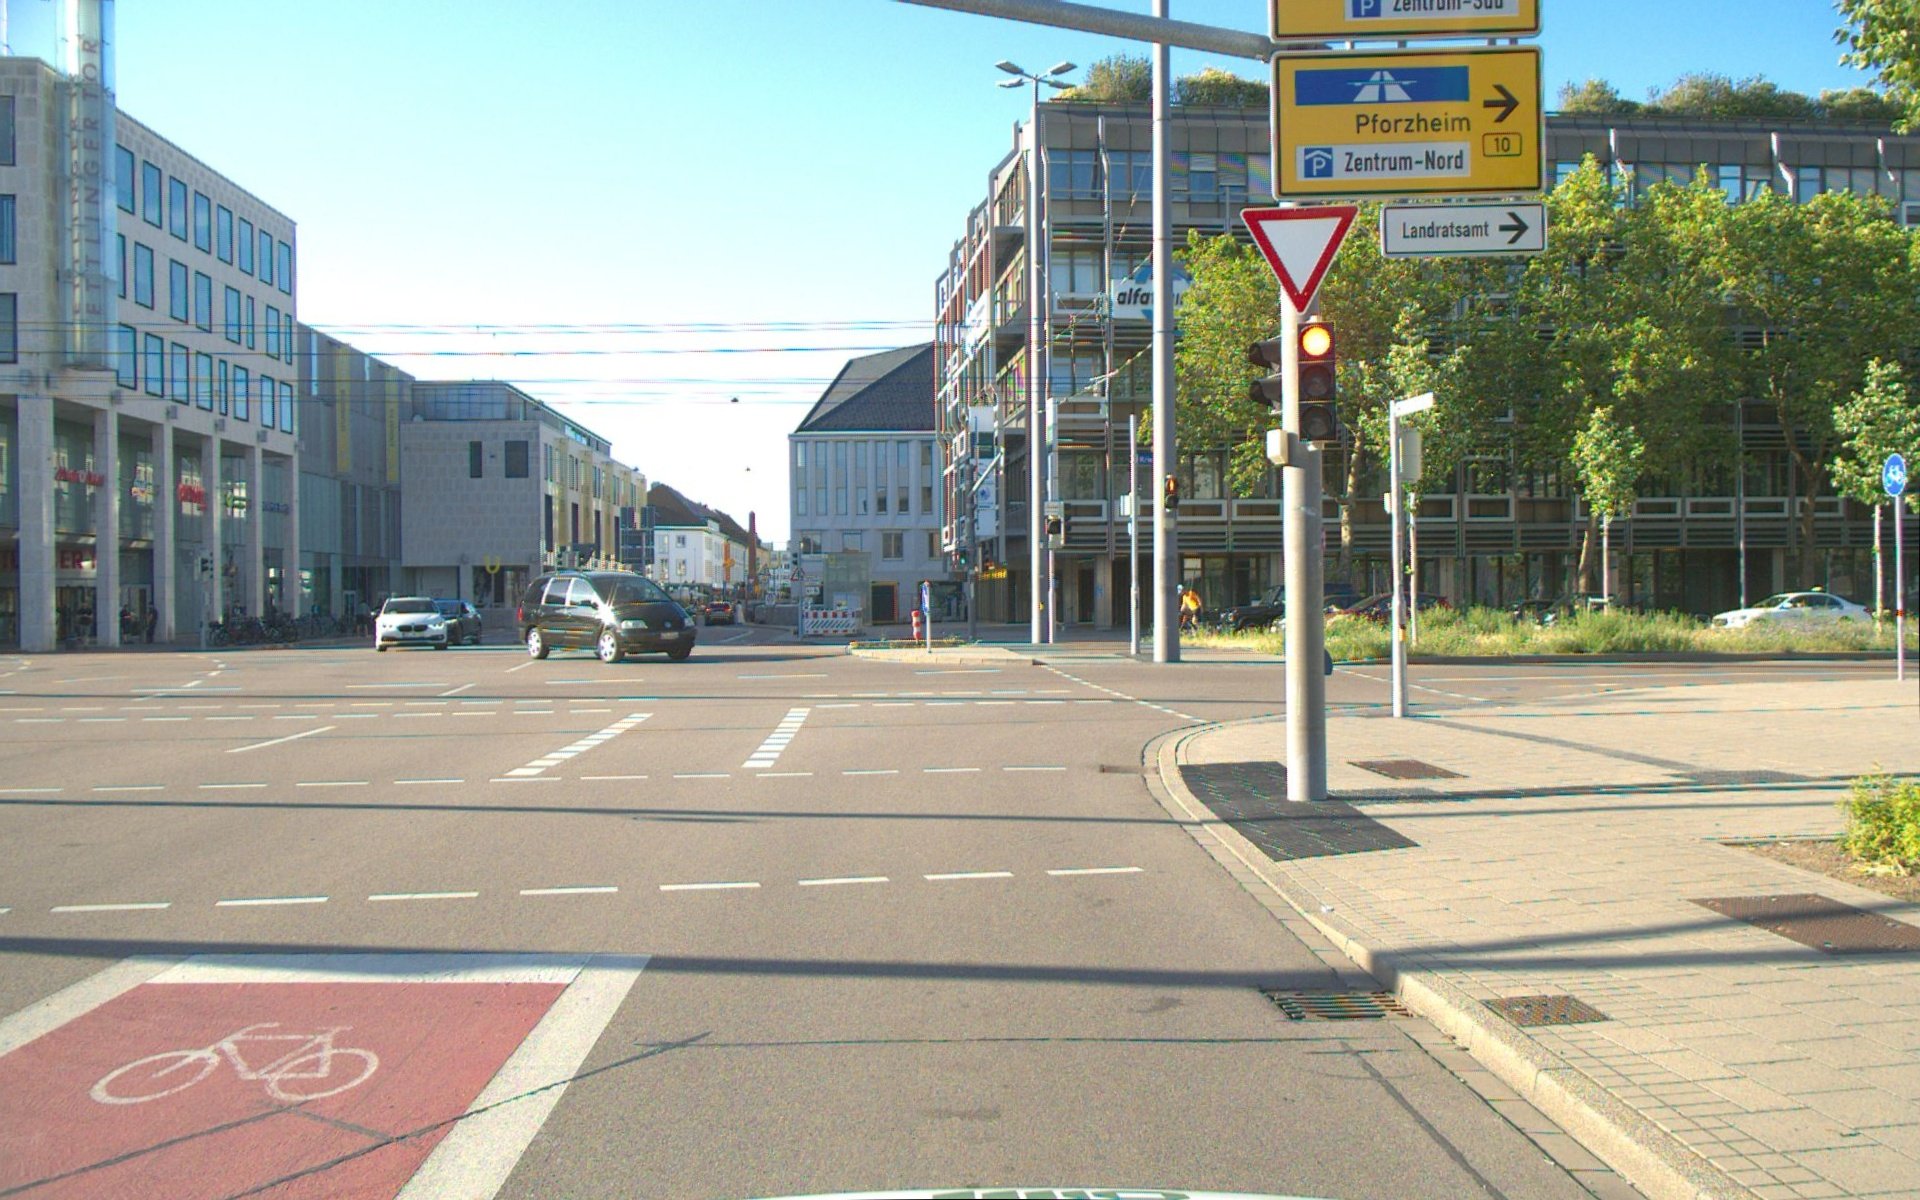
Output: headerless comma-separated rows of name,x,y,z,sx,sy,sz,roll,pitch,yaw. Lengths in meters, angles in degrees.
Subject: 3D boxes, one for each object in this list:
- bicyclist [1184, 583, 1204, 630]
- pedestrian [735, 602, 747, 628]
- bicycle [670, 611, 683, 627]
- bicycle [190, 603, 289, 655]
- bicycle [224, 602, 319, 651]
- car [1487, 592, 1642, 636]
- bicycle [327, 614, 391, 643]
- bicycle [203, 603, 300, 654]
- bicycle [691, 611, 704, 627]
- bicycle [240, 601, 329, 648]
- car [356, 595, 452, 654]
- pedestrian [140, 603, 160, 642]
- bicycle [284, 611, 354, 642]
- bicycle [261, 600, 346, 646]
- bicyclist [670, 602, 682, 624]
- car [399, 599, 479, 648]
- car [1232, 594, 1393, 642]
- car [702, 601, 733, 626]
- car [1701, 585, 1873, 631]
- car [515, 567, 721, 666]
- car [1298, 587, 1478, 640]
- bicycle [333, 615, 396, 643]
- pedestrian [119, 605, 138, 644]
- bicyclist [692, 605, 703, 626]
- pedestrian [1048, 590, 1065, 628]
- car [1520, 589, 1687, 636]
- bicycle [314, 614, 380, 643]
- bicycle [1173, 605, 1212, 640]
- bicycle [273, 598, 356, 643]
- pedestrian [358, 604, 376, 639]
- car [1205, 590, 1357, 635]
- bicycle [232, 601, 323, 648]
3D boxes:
bicyclist,6.724,0.188,47.584,0.498,1.361,0.452,-1,0,1
pedestrian,-14.392,0.982,108.624,0.700,1.697,0.987,-1,0,-3
bicycle,-20.073,1.333,117.047,0.727,1.064,2.429,-1,0,-5
bicycle,-29.787,1.200,68.417,3.554,2.049,1.084,-1,0,-10
bicycle,-29.635,1.137,71.221,3.551,2.049,1.085,-1,0,-6
car,20.417,0.462,55.995,4.541,1.380,1.998,0,2,-6
bicycle,-31.413,1.500,86.478,2.992,1.425,0.901,-1,0,-6
bicycle,-29.873,1.186,69.752,3.551,2.049,1.085,-1,0,-6
bicycle,-18.617,1.340,117.448,0.727,1.064,2.429,-1,0,-5
bicycle,-30.743,1.104,75.277,3.551,2.049,1.085,-1,0,-6
car,-15.122,0.620,44.867,1.968,1.380,4.609,-1,2,-25
pedestrian,-34.474,0.951,70.396,0.618,1.636,0.645,-1,0,-37
bicycle,-31.080,1.293,80.176,2.992,1.425,0.901,-1,0,-6
bicycle,-30.706,1.068,77.369,3.551,2.049,0.901,-1,0,-6
bicyclist,-20.080,0.911,117.001,0.731,1.486,0.766,-1,0,-4
car,-17.795,0.768,56.631,1.956,1.557,4.028,-1,0,-8
car,10.959,0.533,51.577,4.541,1.380,1.998,0,2,-6
car,-15.880,0.882,108.262,1.956,1.579,3.993,-1,0,-8
car,26.376,0.242,52.829,4.541,1.380,1.998,0,2,-6
car,-6.814,0.256,32.660,1.983,1.772,4.575,-2,2,-42
car,12.063,0.353,46.789,4.541,1.380,1.998,0,2,-6
bicycle,-31.626,1.546,87.884,2.992,1.425,0.901,-1,0,-6
pedestrian,-35.049,1.024,69.709,0.618,1.636,0.645,-1,0,-37
bicyclist,-18.675,1.106,117.652,0.731,1.486,0.766,-1,0,-4
pedestrian,3.895,0.360,66.849,0.609,1.545,0.654,-1,0,7
car,20.340,0.376,52.387,4.541,1.380,1.998,0,2,-6
bicycle,-31.360,1.458,84.592,2.992,1.425,0.901,-1,0,-6
bicycle,6.676,0.633,47.579,1.054,0.988,0.458,-1,0,0
bicycle,-30.901,0.976,79.205,3.551,2.049,0.901,-1,0,-6
pedestrian,-28.731,1.036,80.137,0.734,1.636,0.619,-1,0,-29
car,10.517,0.397,54.379,4.541,1.380,1.998,0,2,-6
bicycle,-30.585,1.093,74.134,3.551,2.049,1.085,-1,0,-6
